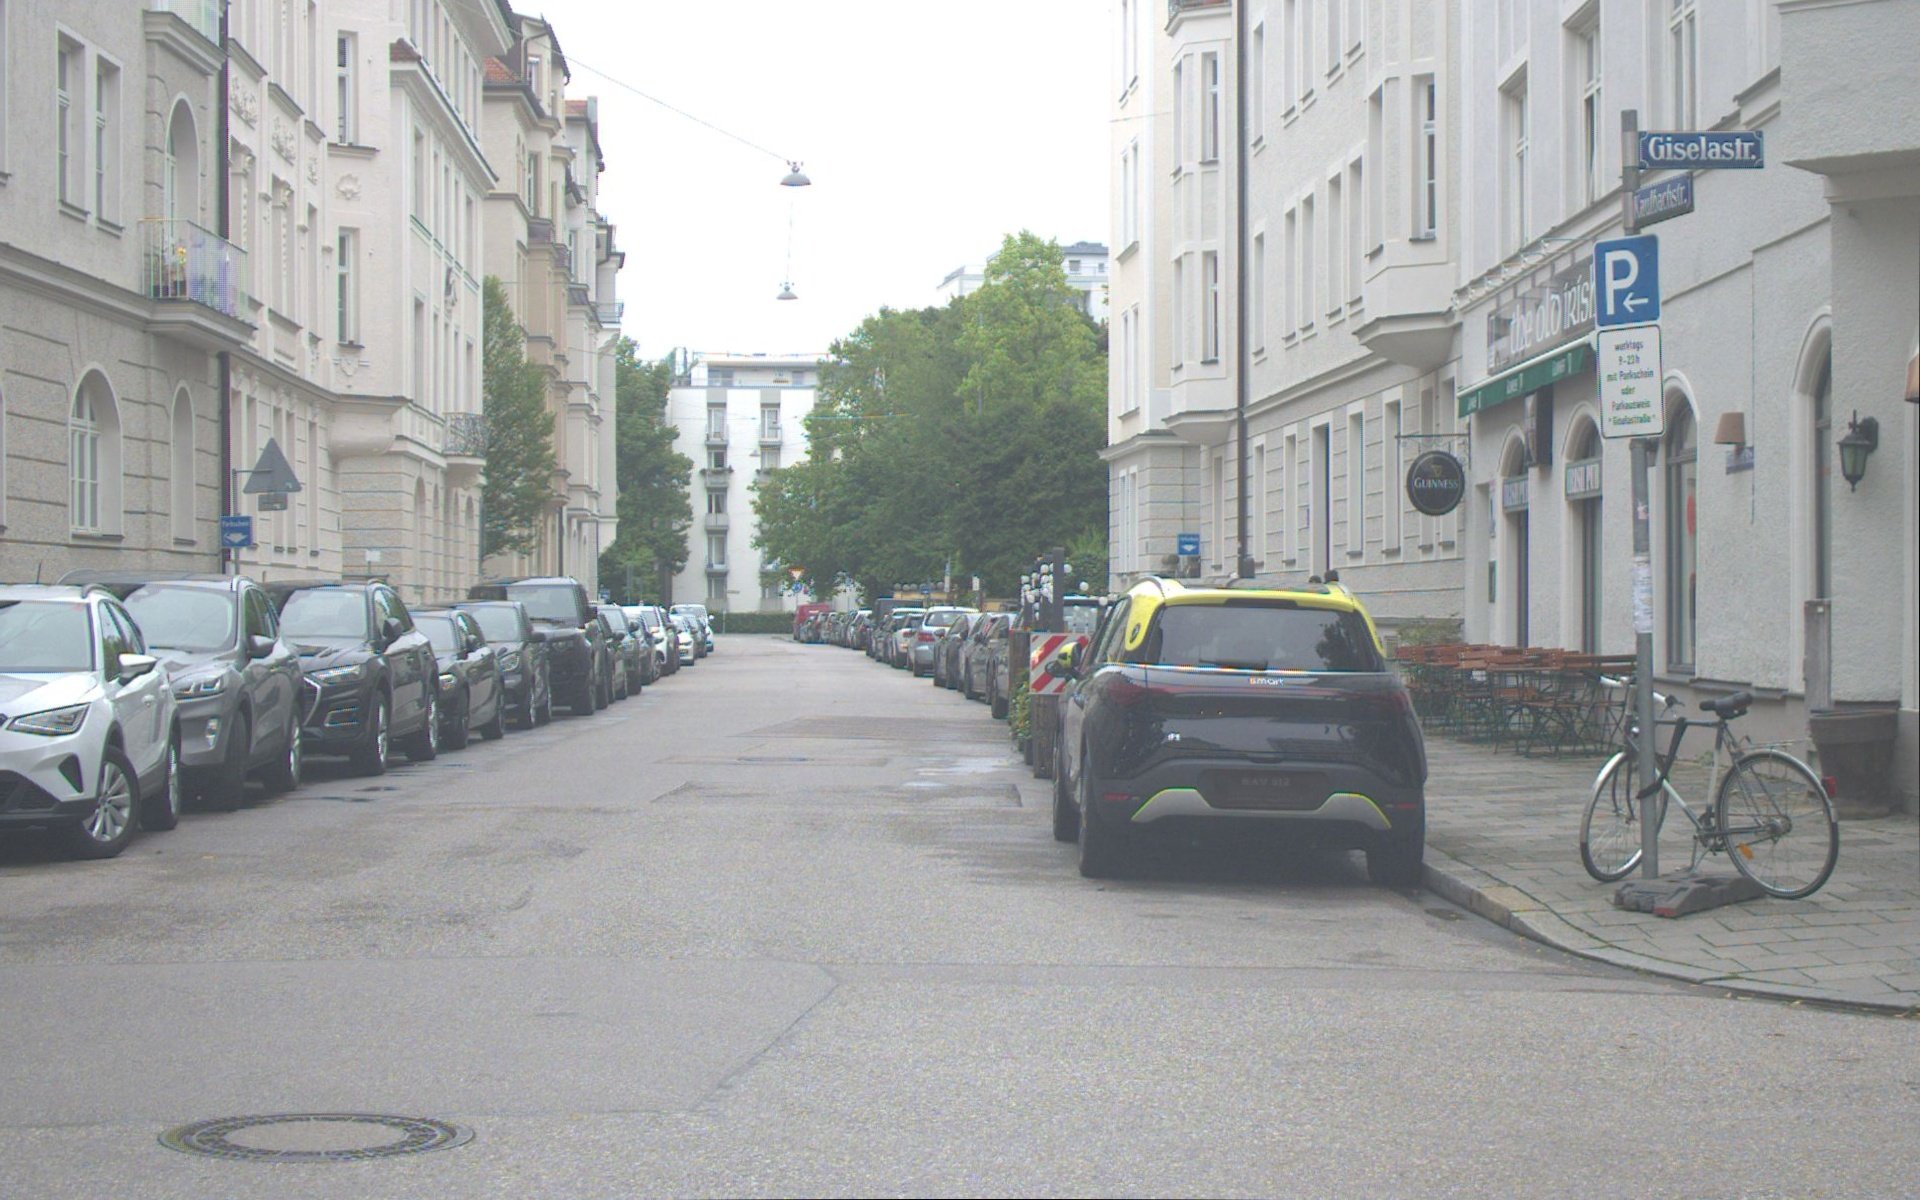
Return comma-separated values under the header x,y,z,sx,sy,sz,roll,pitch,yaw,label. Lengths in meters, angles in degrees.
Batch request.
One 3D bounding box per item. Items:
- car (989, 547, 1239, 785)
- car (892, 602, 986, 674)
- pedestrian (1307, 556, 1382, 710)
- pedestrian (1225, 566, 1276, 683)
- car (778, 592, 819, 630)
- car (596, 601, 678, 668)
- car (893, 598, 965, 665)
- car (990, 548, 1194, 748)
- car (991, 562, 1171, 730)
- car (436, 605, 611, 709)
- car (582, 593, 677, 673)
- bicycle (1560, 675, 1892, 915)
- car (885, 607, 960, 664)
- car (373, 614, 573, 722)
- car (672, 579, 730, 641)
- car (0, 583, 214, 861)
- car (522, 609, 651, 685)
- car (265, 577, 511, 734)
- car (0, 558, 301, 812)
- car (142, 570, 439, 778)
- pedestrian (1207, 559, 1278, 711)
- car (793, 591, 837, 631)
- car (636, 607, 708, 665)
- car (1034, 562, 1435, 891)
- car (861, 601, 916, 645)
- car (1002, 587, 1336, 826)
x,y,z,sx,sy,sz,roll,pitch,yaw,label
1.269,0.534,30.052,1.820,1.864,4.289,2,0,-1,car
-0.495,0.838,77.978,1.906,1.571,4.000,0,0,-4,car
4.655,0.395,41.641,0.778,1.845,1.023,0,0,-1,pedestrian
4.633,0.384,54.734,0.778,1.845,0.859,0,0,6,pedestrian
-8.653,0.593,184.323,1.993,1.975,4.894,1,0,-5,car
-7.107,0.748,75.966,1.733,1.415,4.001,0,0,-4,car
-0.986,0.949,106.775,1.993,1.975,4.893,1,0,-3,car
1.325,0.475,36.185,1.820,1.917,4.183,2,0,-1,car
1.376,0.506,40.636,1.993,1.850,4.345,1,0,1,car
-5.864,0.741,46.593,1.906,1.324,4.000,0,0,-1,car
-6.711,0.652,70.016,1.820,1.568,4.001,0,0,-4,car
3.584,0.891,16.235,0.539,0.995,1.756,-3,2,-25,bicycle
-0.995,0.903,88.698,1.729,1.413,3.852,0,0,-4,car
-5.870,0.799,41.878,1.906,1.218,4.000,0,0,-1,car
-8.656,0.324,115.148,1.846,2.007,4.000,0,0,-3,car
-5.603,0.635,20.159,1.993,1.468,4.219,0,0,-7,car
-6.310,0.783,58.442,1.906,1.218,4.000,0,0,-2,car
-5.934,0.536,36.088,1.925,1.541,4.000,0,0,0,car
-5.971,0.557,24.725,1.993,1.670,4.013,0,0,-5,car
-5.721,0.593,29.865,1.993,1.670,4.289,0,0,-4,car
3.460,0.418,42.207,0.778,1.845,1.023,0,0,-1,pedestrian
-7.308,0.535,172.934,1.993,1.975,4.894,1,0,-5,car
-8.124,0.998,97.210,1.993,1.568,4.001,0,0,-4,car
1.466,0.647,19.892,1.820,1.630,4.289,2,0,-1,car
-2.795,0.897,133.866,1.950,1.646,4.000,-1,0,-4,car
1.399,0.695,24.859,1.976,1.493,4.637,2,0,-1,car
